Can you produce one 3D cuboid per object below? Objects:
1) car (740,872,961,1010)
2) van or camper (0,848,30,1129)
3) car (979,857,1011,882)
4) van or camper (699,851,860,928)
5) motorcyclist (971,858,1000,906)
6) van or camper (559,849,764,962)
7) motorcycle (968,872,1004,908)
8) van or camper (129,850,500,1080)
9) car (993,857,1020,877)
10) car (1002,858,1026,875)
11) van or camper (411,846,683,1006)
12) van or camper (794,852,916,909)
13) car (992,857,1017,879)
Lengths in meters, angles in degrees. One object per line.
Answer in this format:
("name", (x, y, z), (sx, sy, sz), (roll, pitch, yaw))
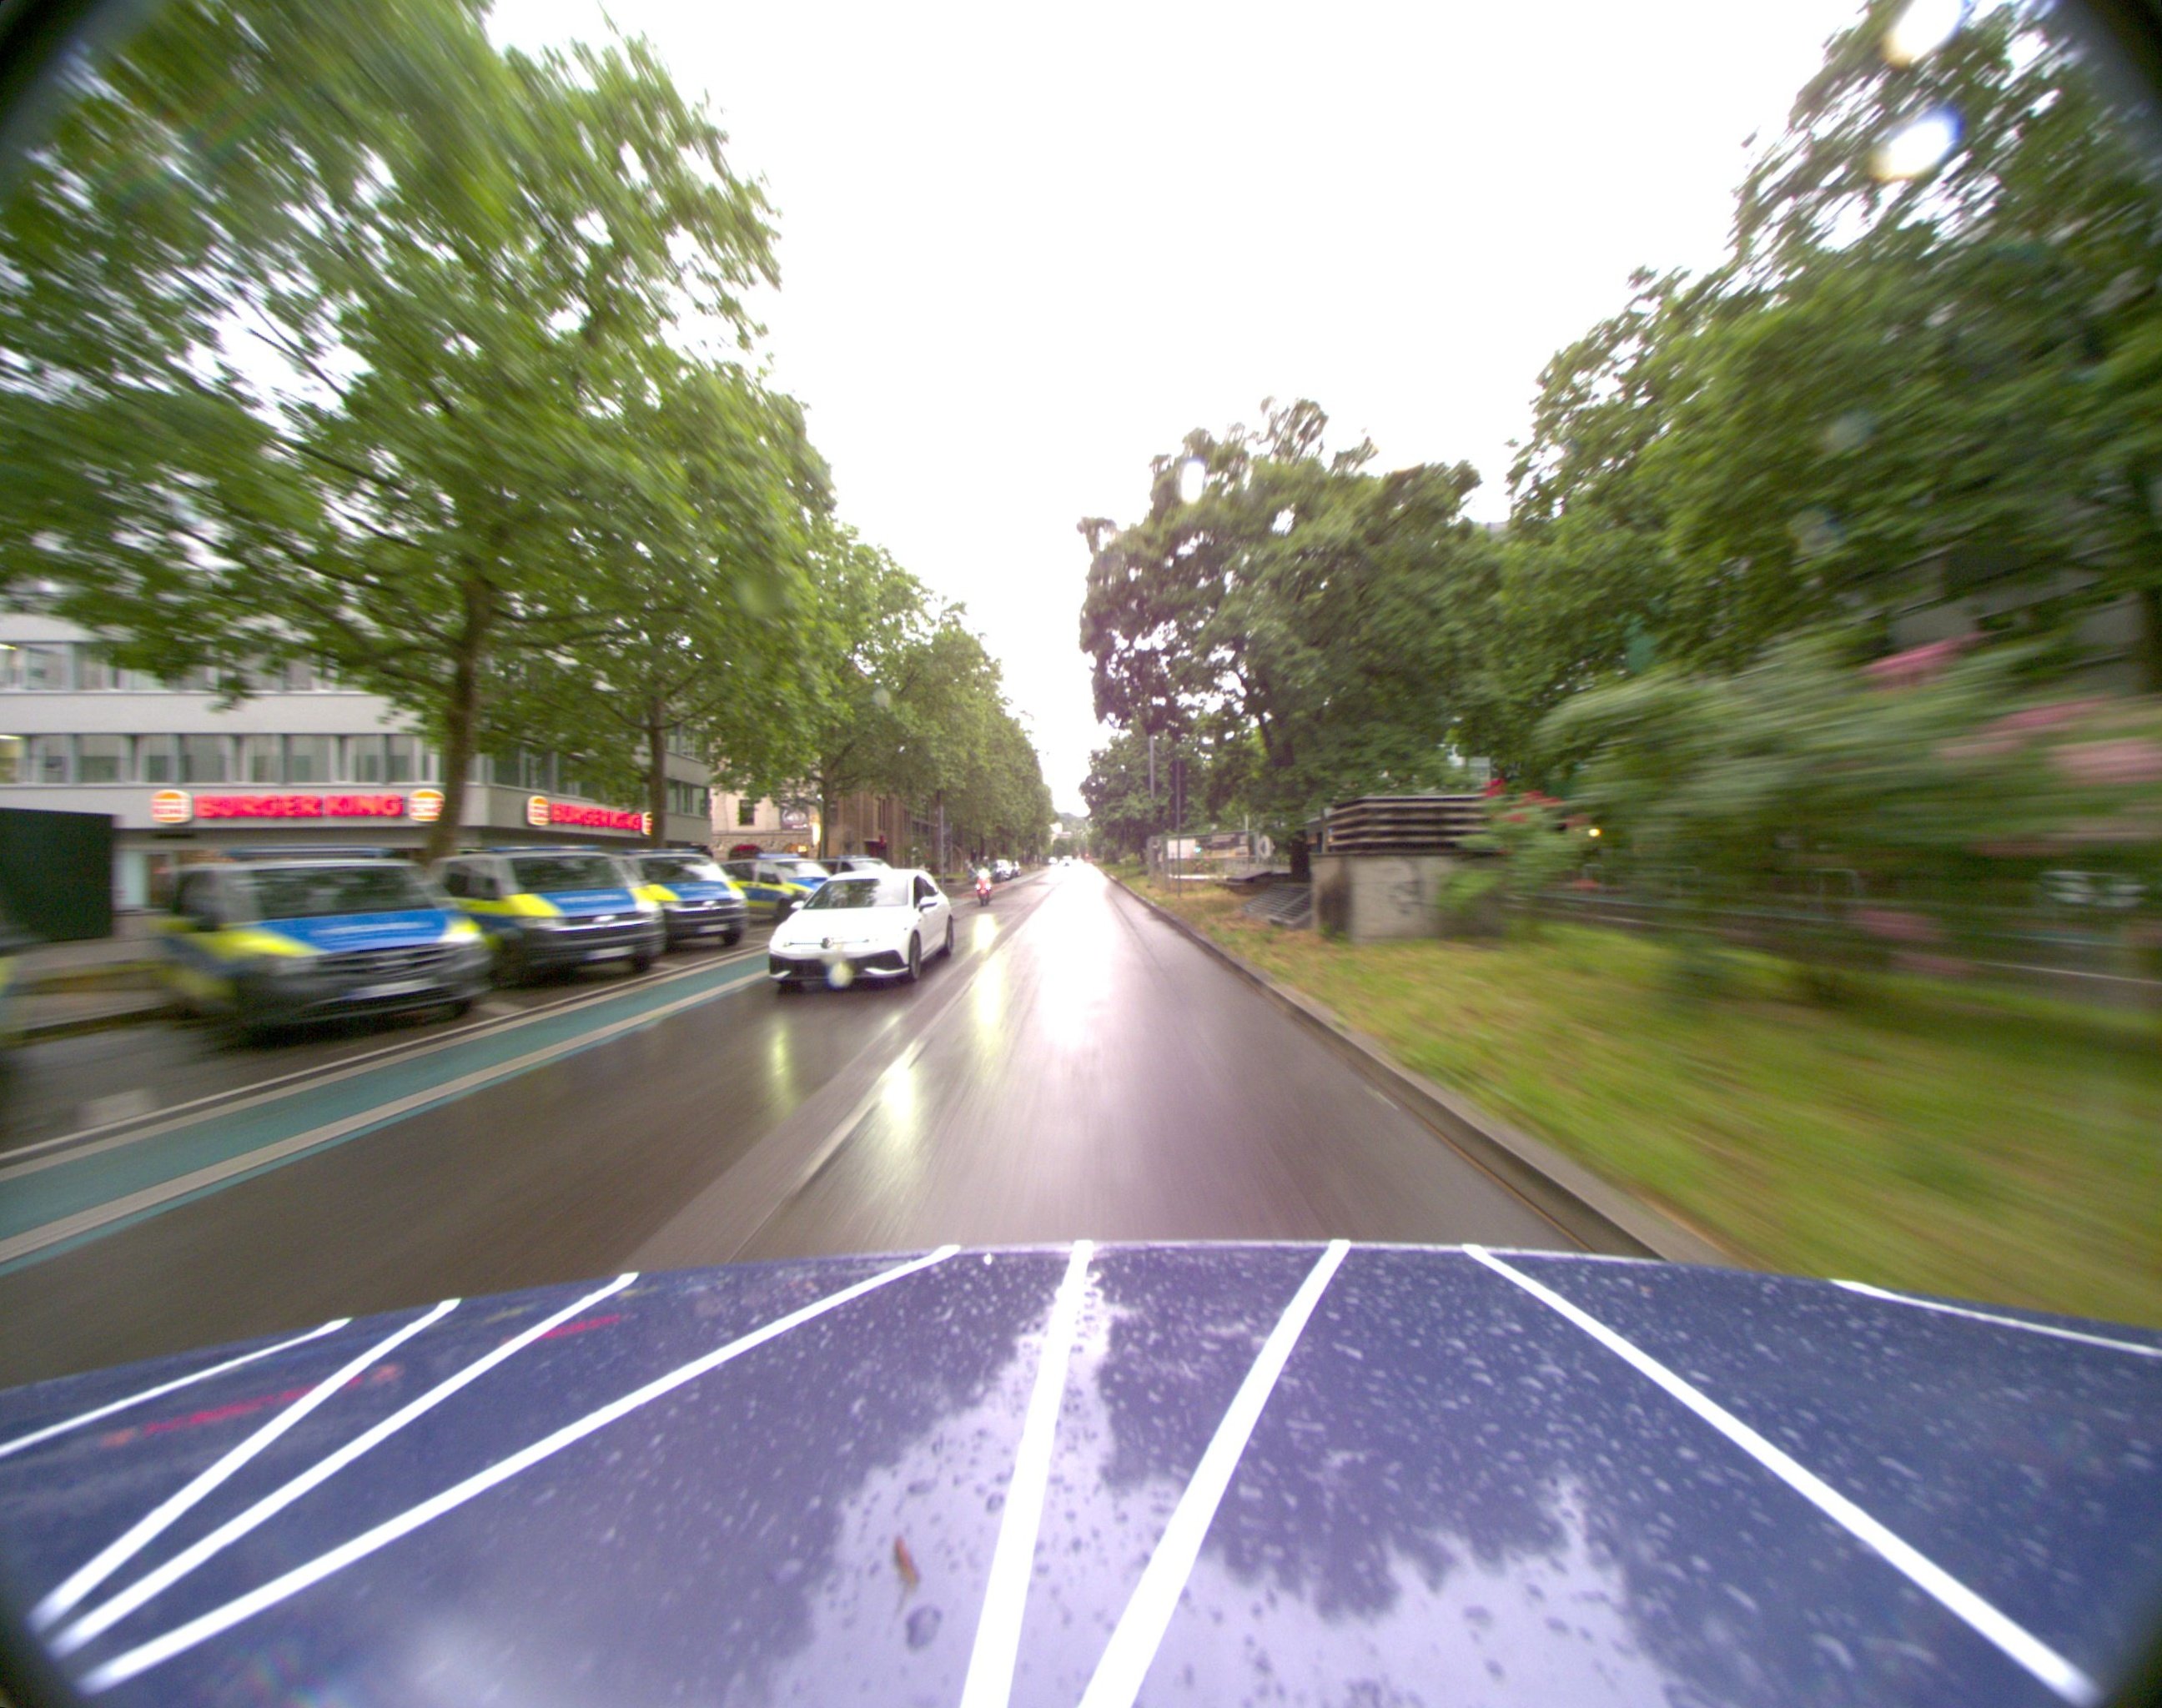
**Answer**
("car", (-3.023, 1.062, 11.073), (1.866, 1.436, 4.508), (-2, 0, -1))
("van or camper", (-8.854, 0.972, 4.949), (5.093, 2.013, 2.110), (-1, 0, 38))
("car", (-6.158, 1.072, 54.668), (1.797, 1.593, 4.423), (-2, 0, -1))
("van or camper", (-9.058, 1.031, 22.632), (5.074, 2.007, 2.001), (-3, 0, 37))
("motorcyclist", (-3.381, 0.990, 26.839), (0.850, 1.635, 0.870), (-2, 0, -18))
("van or camper", (-8.809, 0.968, 15.788), (4.841, 1.986, 1.871), (-2, 1, 37))
("motorcycle", (-3.386, 1.249, 26.866), (0.869, 1.136, 2.019), (-2, 0, -17))
("van or camper", (-9.016, 1.003, 8.813), (5.010, 1.984, 2.004), (-1, 1, 33))
("car", (-6.312, 1.087, 64.883), (1.999, 1.580, 4.559), (-2, 0, -2))
("car", (-6.198, 1.135, 70.519), (1.747, 1.424, 4.586), (-2, 0, 1))
("van or camper", (-8.440, 0.959, 11.858), (4.781, 1.999, 2.004), (-1, 1, 37))
("van or camper", (-8.879, 1.031, 29.634), (4.934, 1.980, 2.006), (-2, 1, 38))
("car", (-6.014, 1.046, 59.839), (1.756, 1.576, 4.409), (-2, 0, -4))
